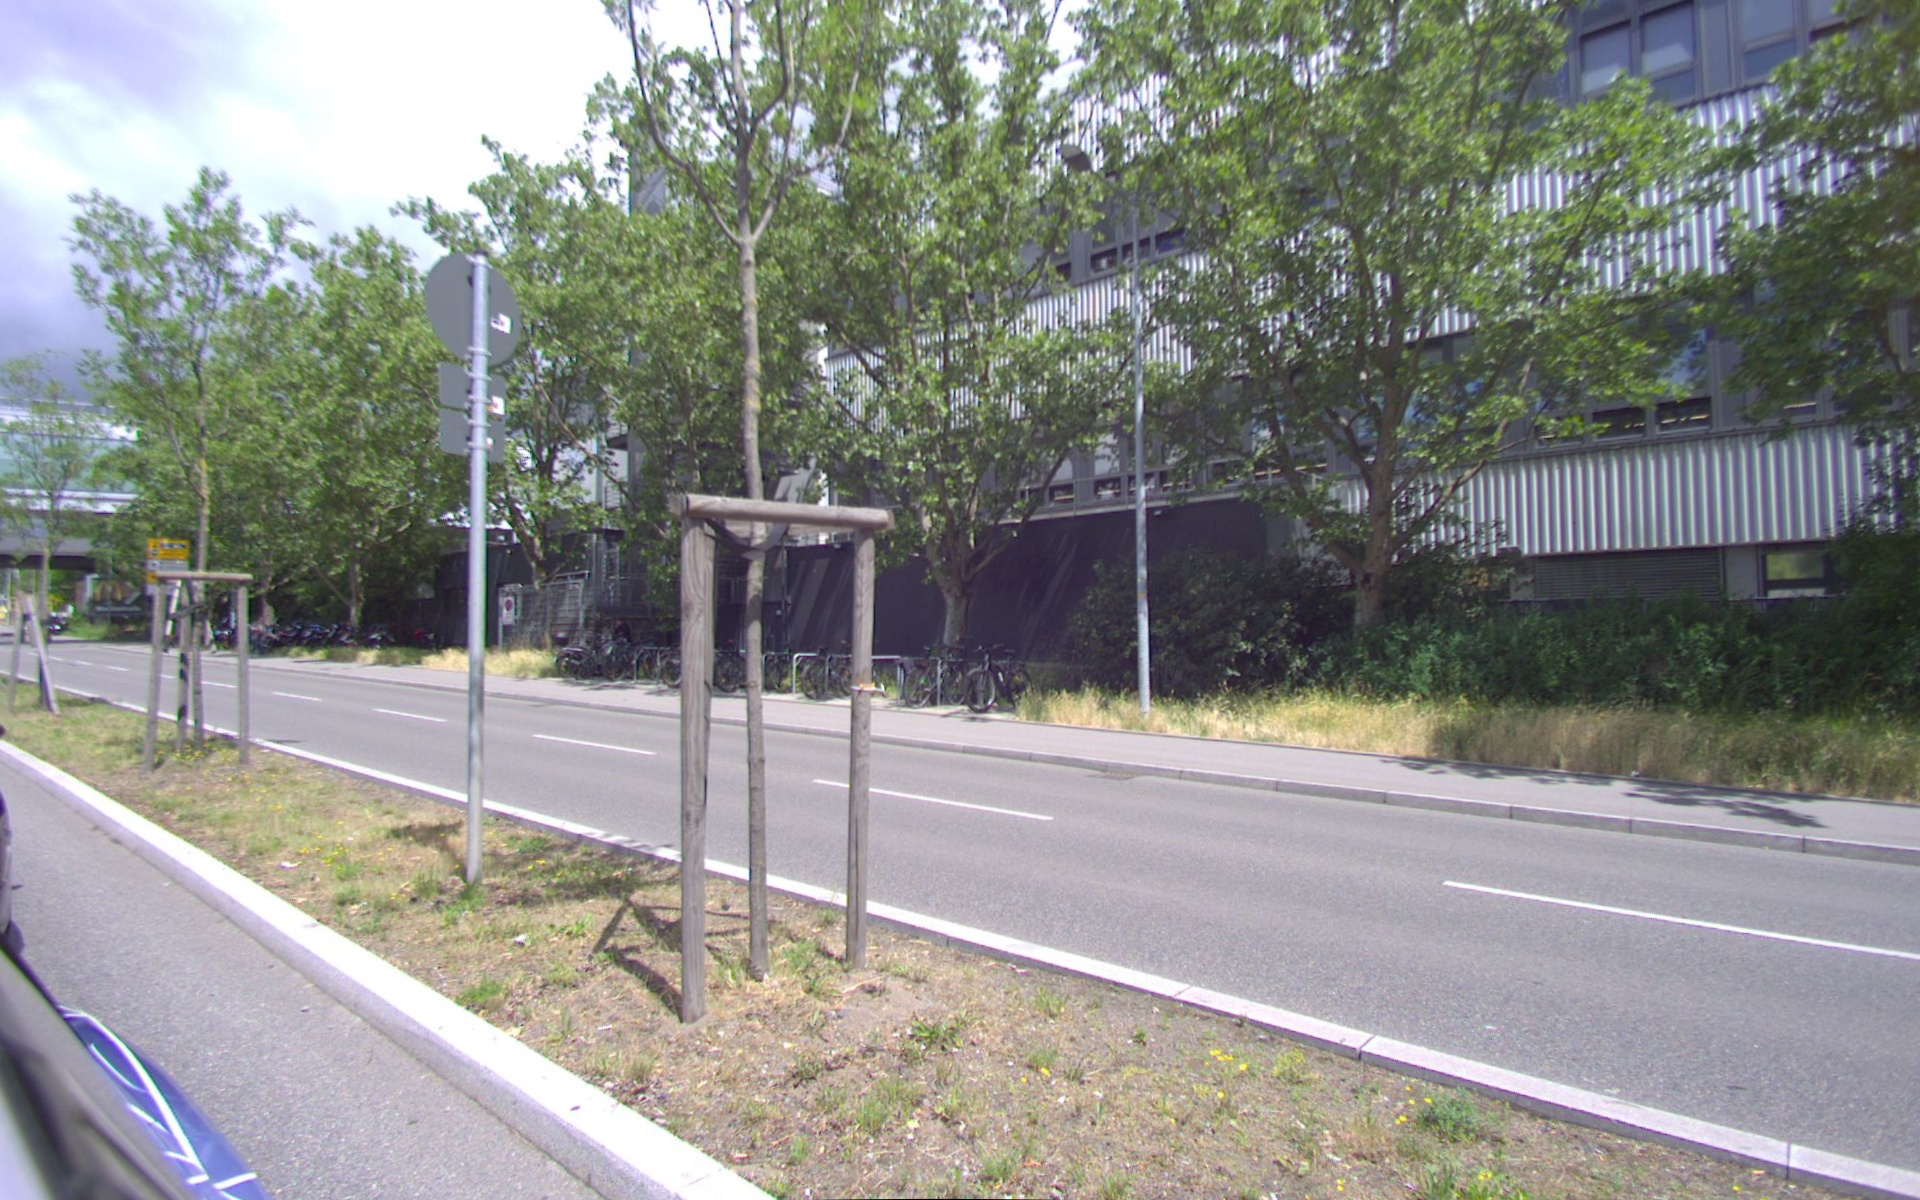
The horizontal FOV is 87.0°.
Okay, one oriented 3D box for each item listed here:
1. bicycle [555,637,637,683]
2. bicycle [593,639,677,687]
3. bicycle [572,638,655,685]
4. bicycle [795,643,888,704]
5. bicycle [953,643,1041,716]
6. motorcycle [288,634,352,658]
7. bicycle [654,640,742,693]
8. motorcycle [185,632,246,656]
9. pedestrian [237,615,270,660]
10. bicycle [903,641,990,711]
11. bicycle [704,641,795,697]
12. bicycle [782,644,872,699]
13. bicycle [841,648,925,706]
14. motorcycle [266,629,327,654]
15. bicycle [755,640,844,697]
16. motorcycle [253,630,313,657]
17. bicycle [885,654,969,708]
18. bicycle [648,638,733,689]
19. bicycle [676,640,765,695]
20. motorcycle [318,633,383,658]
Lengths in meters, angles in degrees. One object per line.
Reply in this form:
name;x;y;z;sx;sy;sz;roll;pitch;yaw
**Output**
bicycle;-9.547;1.548;26.618;0.382;1.119;2.101;-2;-1;43
bicycle;-8.161;1.563;25.525;0.382;1.119;2.101;-2;-1;43
bicycle;-8.905;1.567;26.073;0.382;1.119;2.101;-2;-1;43
bicycle;-2.340;1.431;20.216;0.382;1.104;2.101;-2;-1;43
bicycle;0.661;1.335;17.386;0.381;1.137;1.968;-2;-1;39
motorcycle;-25.786;1.844;40.811;0.534;0.892;2.105;-2;-1;41
bicycle;-5.990;1.496;23.251;0.382;1.119;2.101;-2;-1;43
motorcycle;-32.553;1.905;44.274;0.534;0.976;2.105;-2;-1;41
pedestrian;-27.763;1.471;39.774;0.672;1.734;0.888;-2;-2;41
bicycle;-0.219;1.331;18.108;0.381;1.137;1.968;-2;-1;39
bicycle;-4.543;1.475;22.004;0.382;1.119;2.101;-2;-1;43
bicycle;-2.743;1.475;21.124;0.382;1.038;2.101;-2;-1;43
bicycle;-1.469;1.473;19.695;0.381;1.005;1.968;-2;-1;39
motorcycle;-28.220;1.759;43.092;0.534;0.976;2.105;-2;-1;41
bicycle;-3.412;1.452;21.739;0.382;1.119;2.101;-2;-1;43
motorcycle;-29.390;1.879;43.953;0.534;1.146;2.105;-2;-1;41
bicycle;-0.597;1.517;19.209;0.381;0.897;1.968;-2;-1;39
bicycle;-6.481;1.508;24.401;0.382;1.119;2.101;-2;-1;43
bicycle;-5.333;1.485;22.655;0.382;1.119;2.101;-2;-1;43
motorcycle;-23.956;1.780;39.806;0.534;0.905;2.105;-2;-1;41
